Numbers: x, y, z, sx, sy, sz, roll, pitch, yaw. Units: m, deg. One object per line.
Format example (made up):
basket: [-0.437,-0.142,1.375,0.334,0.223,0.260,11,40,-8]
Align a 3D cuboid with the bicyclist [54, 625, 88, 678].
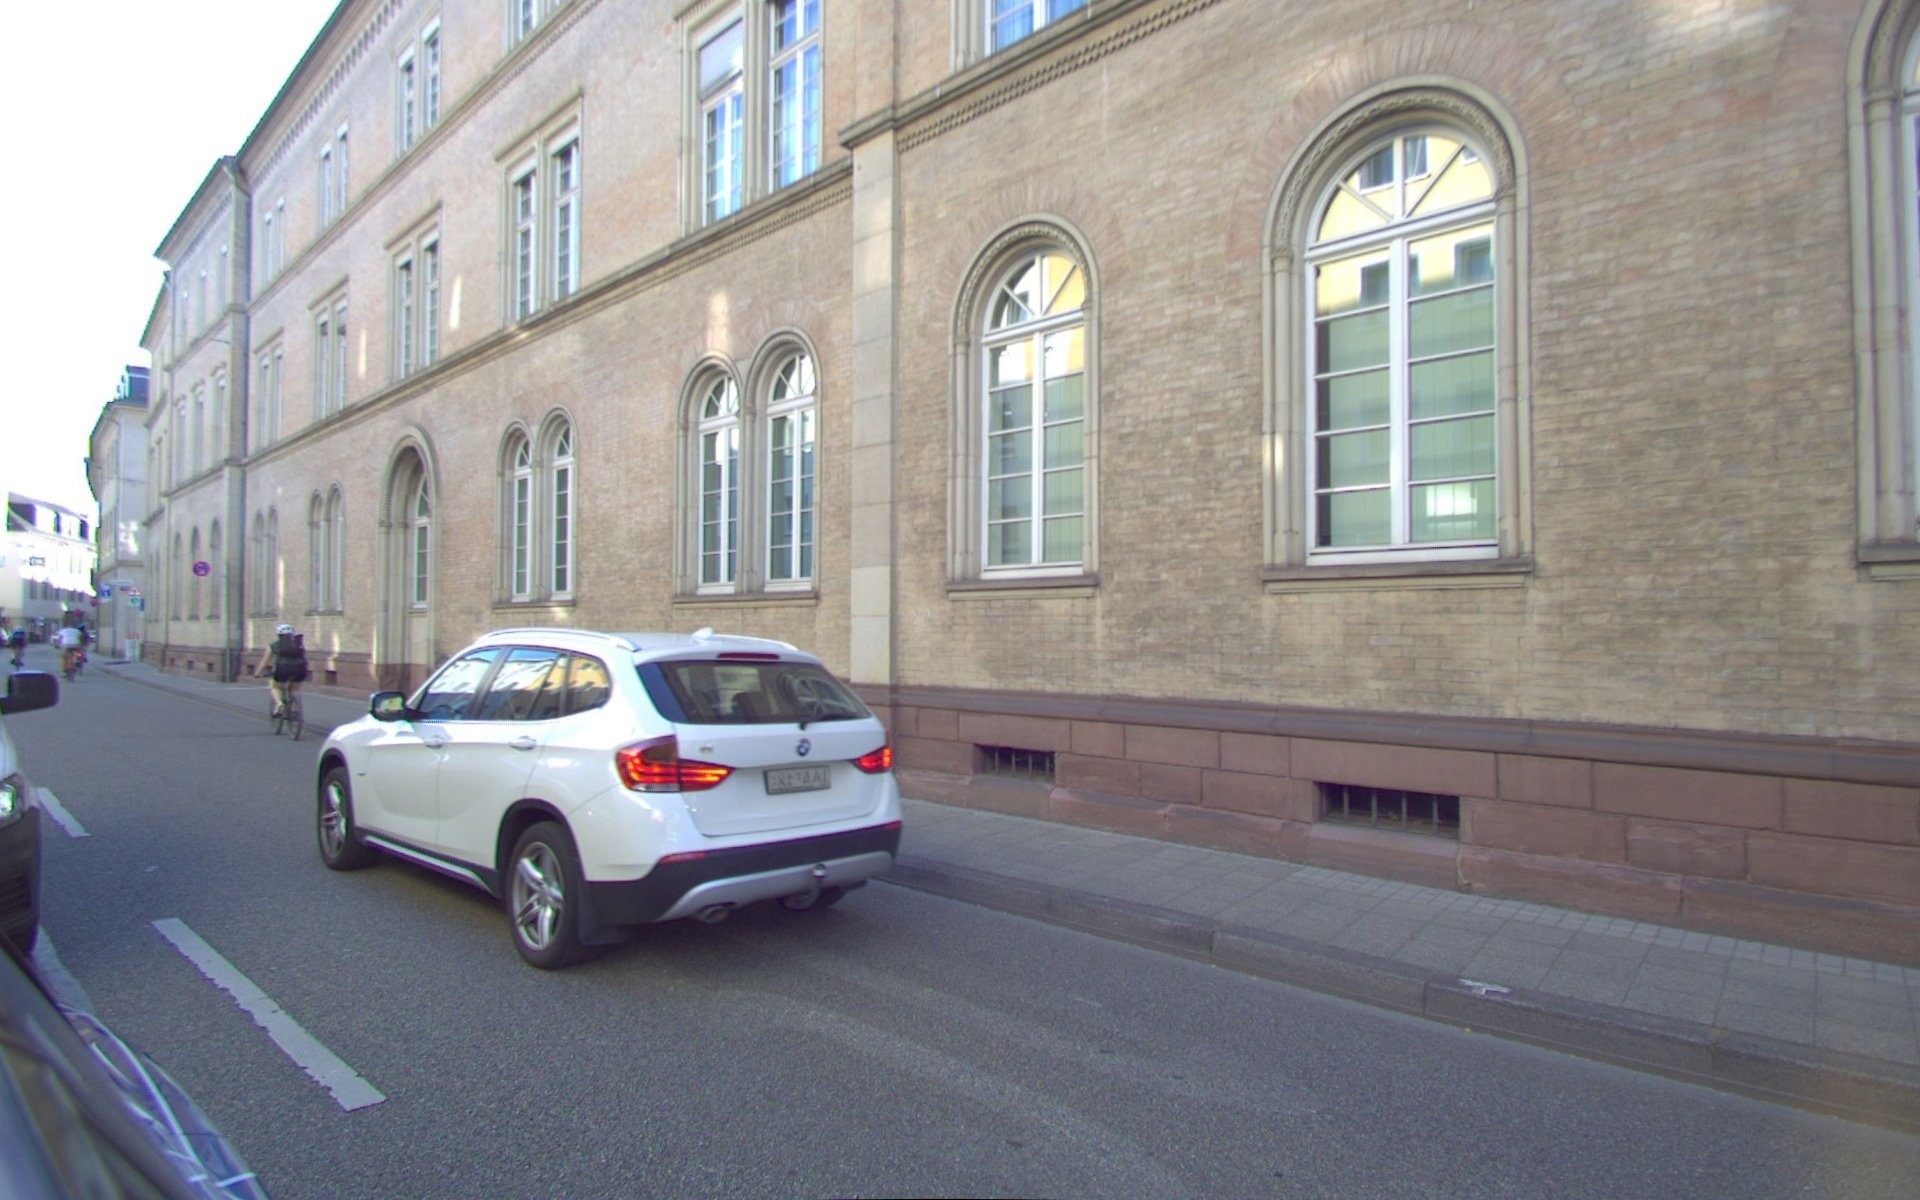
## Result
bicyclist: [-26.752,1.550,30.454,0.642,1.579,0.962,5,-5,-40]

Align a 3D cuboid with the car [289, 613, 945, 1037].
car: [-2.237,0.943,5.890,4.273,1.595,1.667,-2,-5,41]

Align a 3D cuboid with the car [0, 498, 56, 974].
car: [-6.231,0.571,5.133,5.338,1.850,1.795,-2,-3,41]

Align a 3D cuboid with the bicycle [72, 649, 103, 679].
bicycle: [-30.888,2.263,35.820,0.642,1.014,1.876,5,-5,-45]

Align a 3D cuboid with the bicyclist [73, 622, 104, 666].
bicyclist: [-30.888,1.563,35.861,1.112,1.520,0.643,-2,-5,44]

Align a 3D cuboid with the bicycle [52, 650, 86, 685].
bicycle: [-26.775,2.017,30.424,0.642,1.014,1.809,5,-5,-40]

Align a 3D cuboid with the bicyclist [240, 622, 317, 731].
bicyclist: [-9.724,1.084,14.445,0.872,1.487,0.677,-2,-5,45]

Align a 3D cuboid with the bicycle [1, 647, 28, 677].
bicycle: [-33.313,2.176,35.675,0.538,1.014,1.759,5,-5,-40]

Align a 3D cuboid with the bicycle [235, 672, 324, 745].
bicycle: [-9.732,1.515,14.443,1.767,0.931,0.677,-2,-5,45]

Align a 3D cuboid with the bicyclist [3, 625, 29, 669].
bicyclist: [-33.397,1.670,35.812,0.538,1.545,0.871,5,-5,-40]
